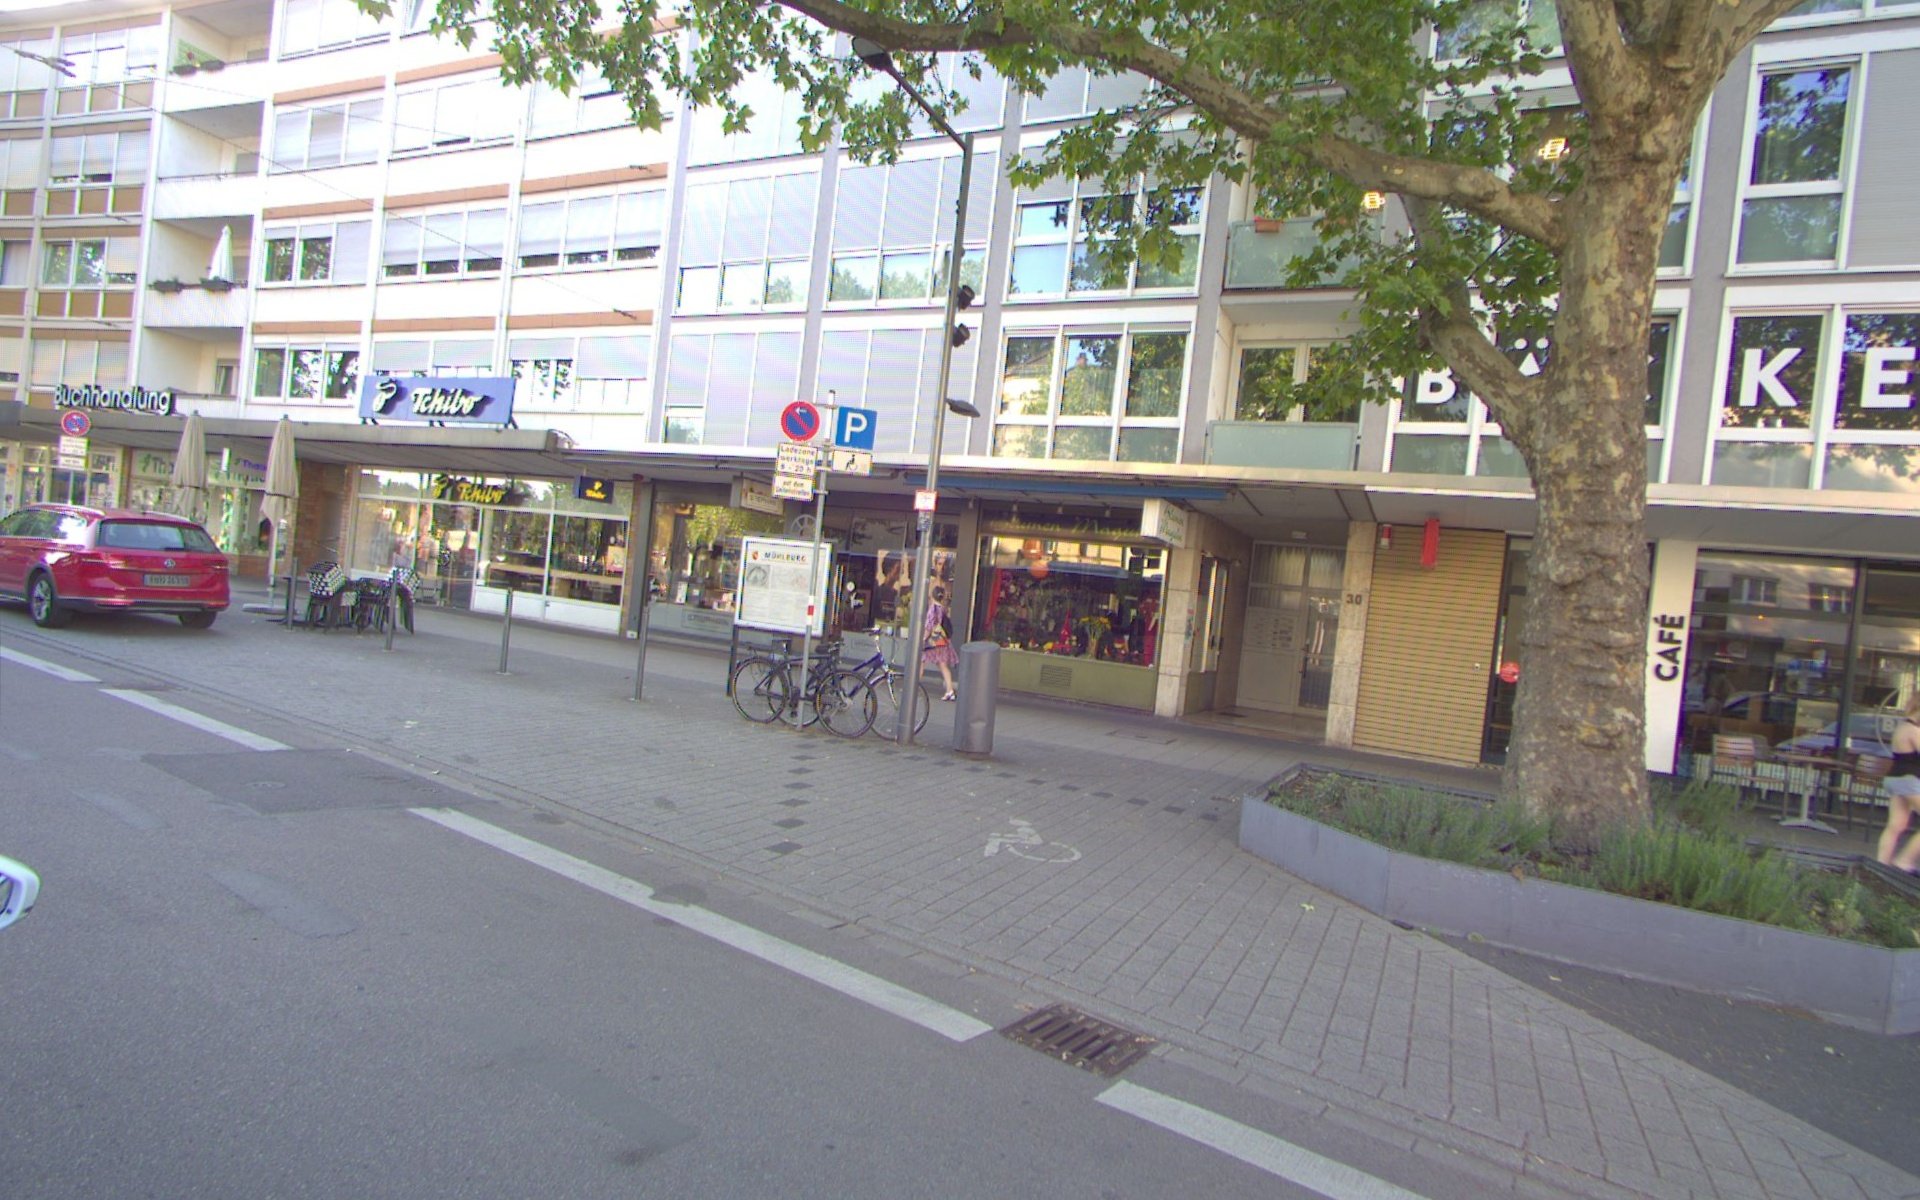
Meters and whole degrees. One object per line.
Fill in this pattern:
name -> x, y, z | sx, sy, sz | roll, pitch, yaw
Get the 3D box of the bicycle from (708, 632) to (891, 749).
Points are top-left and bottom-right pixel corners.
bicycle -> -1.630, 0.901, 10.229 | 1.743, 0.951, 0.391 | 6, 2, 12

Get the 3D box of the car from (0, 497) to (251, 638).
car -> -11.652, -0.493, 13.461 | 4.229, 1.502, 1.772 | 6, 1, 28

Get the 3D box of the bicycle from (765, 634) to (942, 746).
bicycle -> -1.120, 0.926, 10.556 | 1.743, 0.931, 0.391 | 6, 2, 12

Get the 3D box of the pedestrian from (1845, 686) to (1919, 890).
pedestrian -> 7.922, 1.553, 8.317 | 0.631, 1.596, 0.560 | 7, 1, 26

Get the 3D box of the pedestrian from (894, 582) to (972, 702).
pedestrian -> -0.387, 0.592, 14.497 | 0.776, 1.613, 0.651 | 7, 3, 26
